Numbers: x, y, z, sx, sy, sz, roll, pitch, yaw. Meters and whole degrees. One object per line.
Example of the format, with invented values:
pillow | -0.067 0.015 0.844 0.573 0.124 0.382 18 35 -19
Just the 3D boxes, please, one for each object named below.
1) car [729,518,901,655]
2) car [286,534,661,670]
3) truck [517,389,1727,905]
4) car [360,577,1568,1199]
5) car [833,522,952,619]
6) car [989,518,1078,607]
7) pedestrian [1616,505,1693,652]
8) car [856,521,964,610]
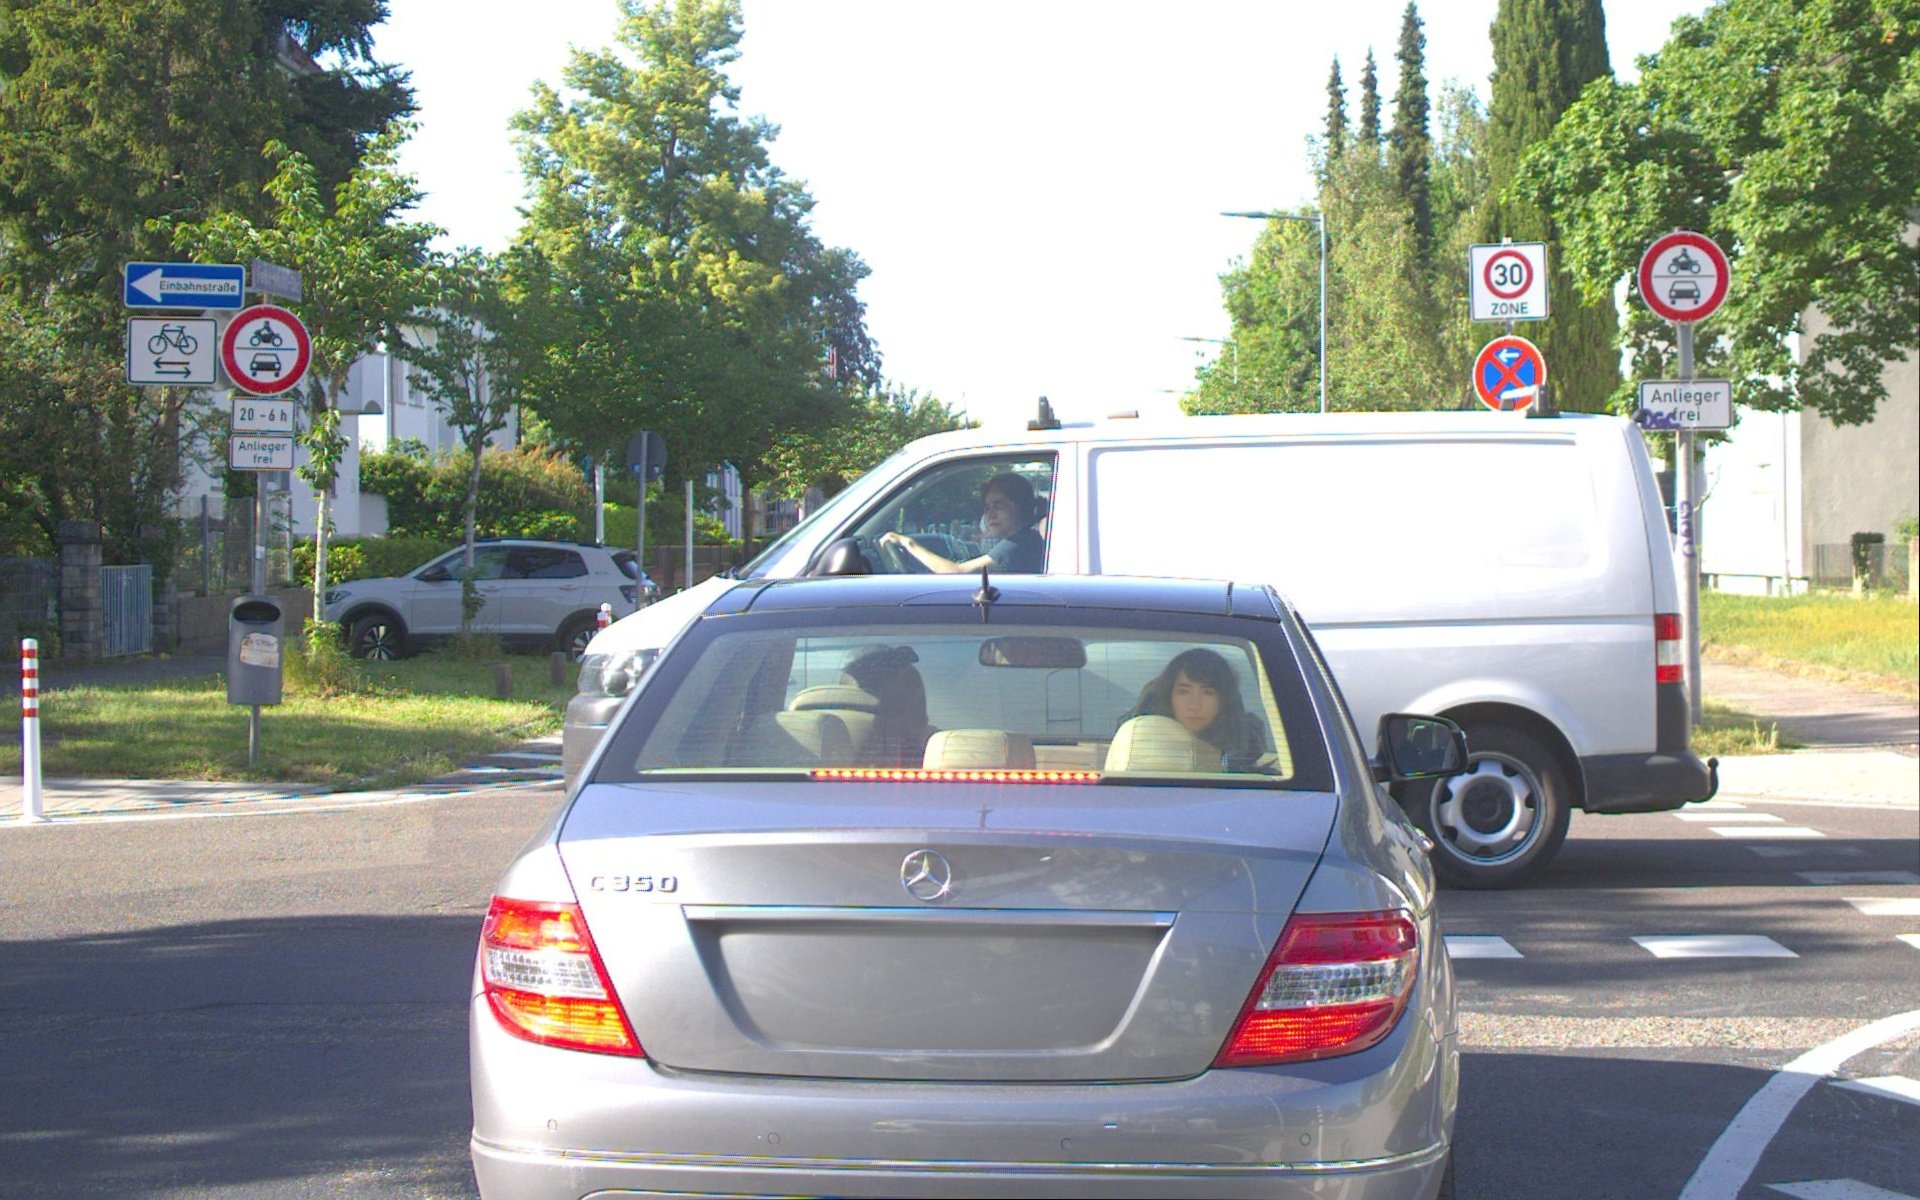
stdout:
car | -1.871 -0.215 45.664 1.993 1.604 4.000 -4 1 0
car | -5.703 0.006 40.672 4.192 1.558 1.842 0 1 0
truck | 0.679 0.173 14.890 4.858 2.029 2.000 -1 1 2
car | 0.110 0.698 7.227 1.836 1.436 4.000 0 1 3
car | -1.214 -0.568 63.459 1.993 1.604 4.000 -4 1 0
car | 1.361 -0.737 64.908 1.597 1.604 3.644 -1 1 0
pedestrian | 7.721 -0.244 38.264 0.766 1.605 0.834 -1 1 7
car | -0.969 -0.718 69.249 1.993 1.604 4.000 -4 1 0
